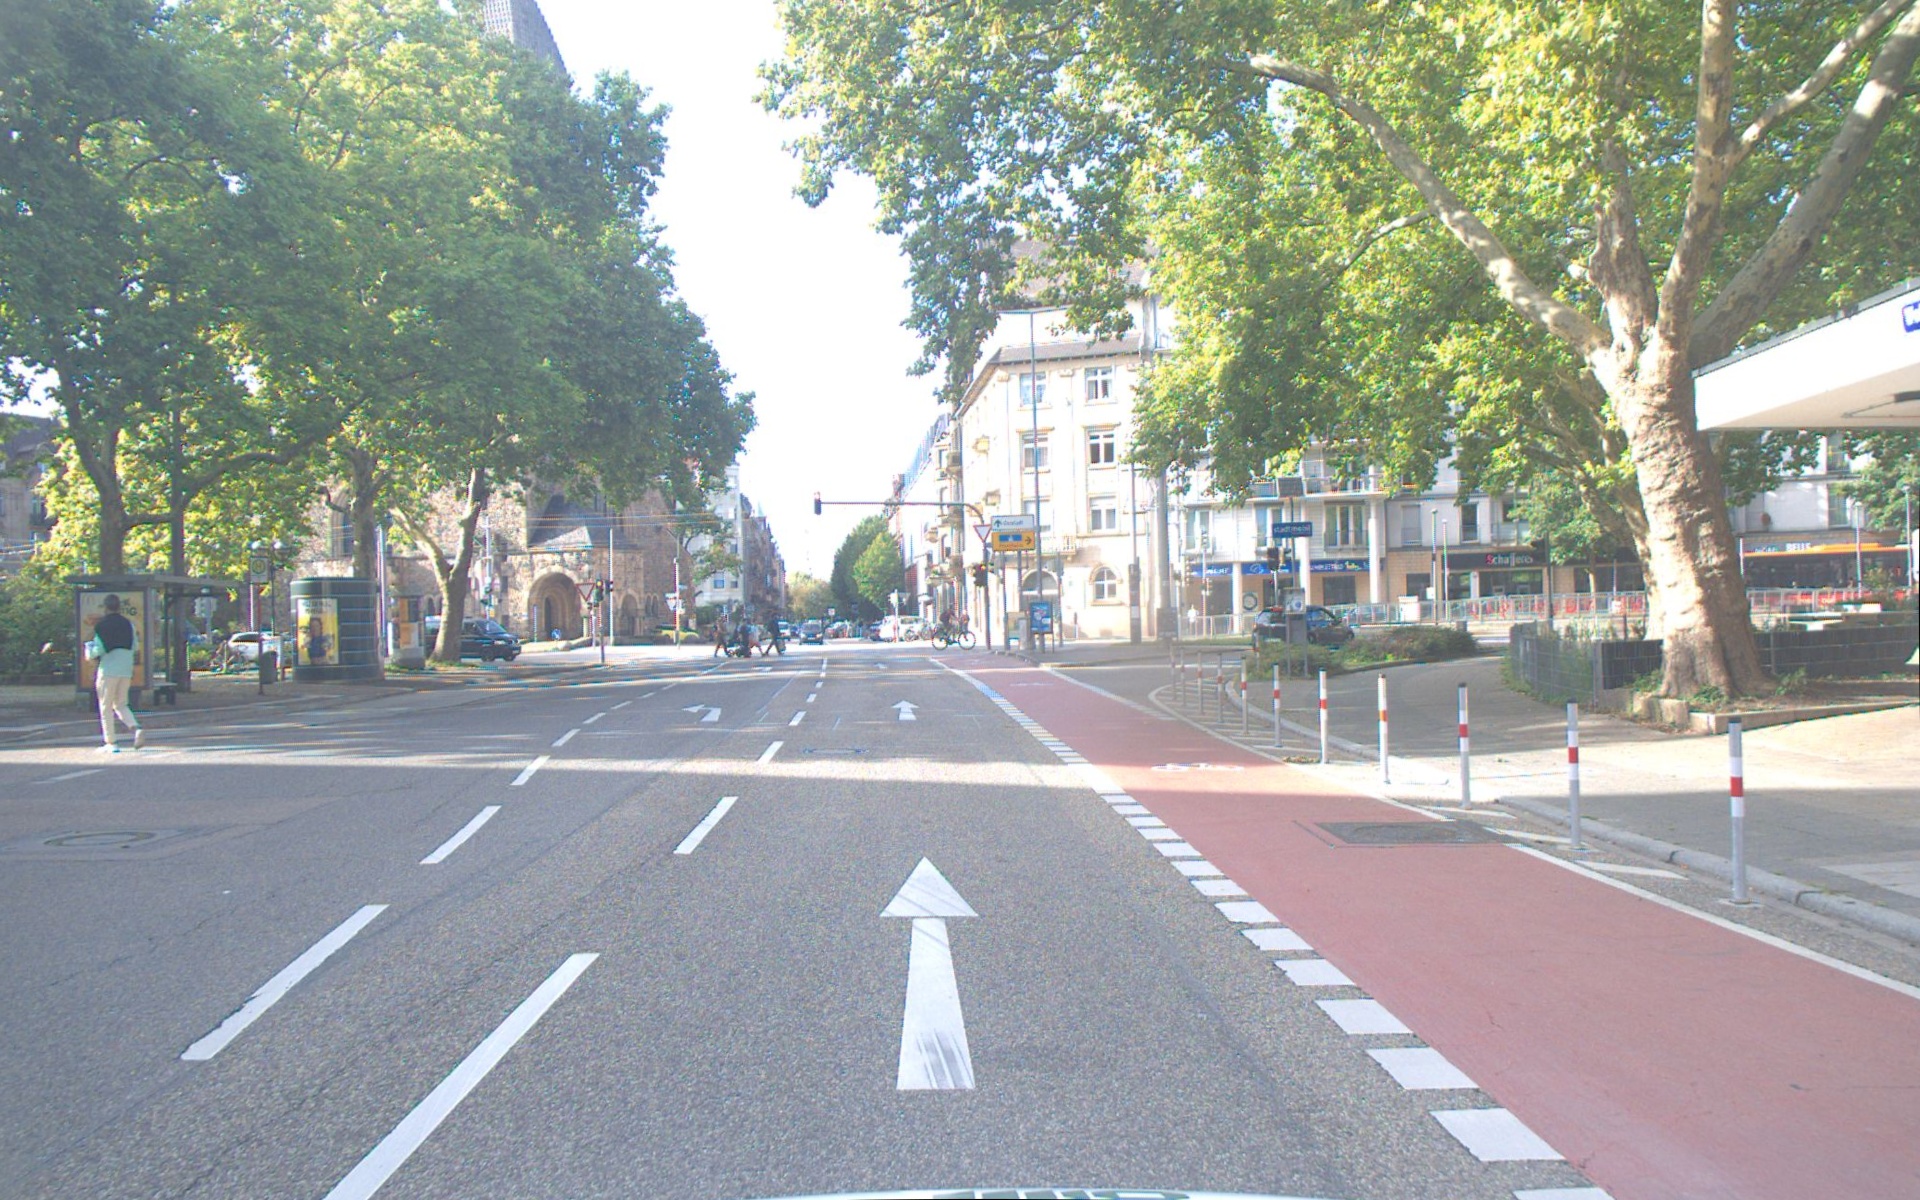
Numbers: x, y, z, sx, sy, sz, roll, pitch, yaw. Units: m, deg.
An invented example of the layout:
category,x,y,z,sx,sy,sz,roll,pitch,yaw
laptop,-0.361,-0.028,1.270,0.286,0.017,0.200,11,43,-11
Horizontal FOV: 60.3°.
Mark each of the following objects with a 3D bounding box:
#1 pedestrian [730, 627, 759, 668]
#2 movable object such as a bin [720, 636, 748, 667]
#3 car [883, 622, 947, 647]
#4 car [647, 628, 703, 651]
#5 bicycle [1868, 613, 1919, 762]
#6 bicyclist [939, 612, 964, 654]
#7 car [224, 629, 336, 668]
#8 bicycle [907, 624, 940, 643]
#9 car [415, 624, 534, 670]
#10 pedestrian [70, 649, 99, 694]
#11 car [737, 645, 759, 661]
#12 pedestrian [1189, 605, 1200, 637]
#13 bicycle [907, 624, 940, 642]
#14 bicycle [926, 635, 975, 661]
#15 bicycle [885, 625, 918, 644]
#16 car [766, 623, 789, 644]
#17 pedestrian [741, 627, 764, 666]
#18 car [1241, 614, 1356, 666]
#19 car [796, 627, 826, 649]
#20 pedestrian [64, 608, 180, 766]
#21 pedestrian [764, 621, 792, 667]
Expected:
category,x,y,z,sx,sy,sz,roll,pitch,yaw
pedestrian,-7.967,1.755,61.194,0.764,1.457,0.731,-2,-1,18
movable object such as a bin,-8.549,1.947,62.564,0.820,1.143,0.575,-2,-1,19
car,-2.943,2.238,106.645,3.912,1.445,1.996,-2,-1,-8
car,-22.264,3.077,129.342,3.968,1.624,1.839,-1,-1,-44
bicycle,8.297,0.701,13.489,0.698,1.227,1.815,-5,-2,1
bicyclist,-0.326,1.288,64.271,0.762,1.607,0.625,-2,-2,21
car,-32.067,2.278,77.992,4.606,1.713,2.018,-2,-1,15
bicycle,-2.326,2.115,105.009,1.988,1.101,0.628,-2,-1,-14
car,-21.931,2.105,74.771,4.740,1.904,2.033,-2,-1,15
pedestrian,-26.108,2.132,49.330,0.713,1.311,0.810,2,-2,-30
car,-17.803,4.472,139.004,1.519,1.251,3.586,-1,-1,-2
pedestrian,12.652,1.136,89.156,0.485,1.744,0.527,0,-2,20
bicycle,-2.287,2.085,104.318,1.988,1.101,0.618,-2,-1,-14
bicycle,-0.367,1.868,64.275,1.792,0.972,0.573,-2,-2,22
bicycle,-3.680,2.157,104.205,1.988,1.101,0.618,-2,-1,-14
car,-16.547,3.035,150.371,1.911,1.780,3.996,-2,-2,-5
pedestrian,-7.752,1.739,61.794,0.641,1.457,0.499,-2,-1,18
car,9.882,1.139,48.076,1.723,1.438,3.983,-2,-1,37
car,-10.253,2.602,113.963,1.911,1.396,3.996,-2,-1,-5
pedestrian,-9.829,1.002,19.439,1.057,1.784,0.914,0,-1,-17
pedestrian,-6.904,1.674,62.676,0.764,1.691,0.779,-2,-1,18
